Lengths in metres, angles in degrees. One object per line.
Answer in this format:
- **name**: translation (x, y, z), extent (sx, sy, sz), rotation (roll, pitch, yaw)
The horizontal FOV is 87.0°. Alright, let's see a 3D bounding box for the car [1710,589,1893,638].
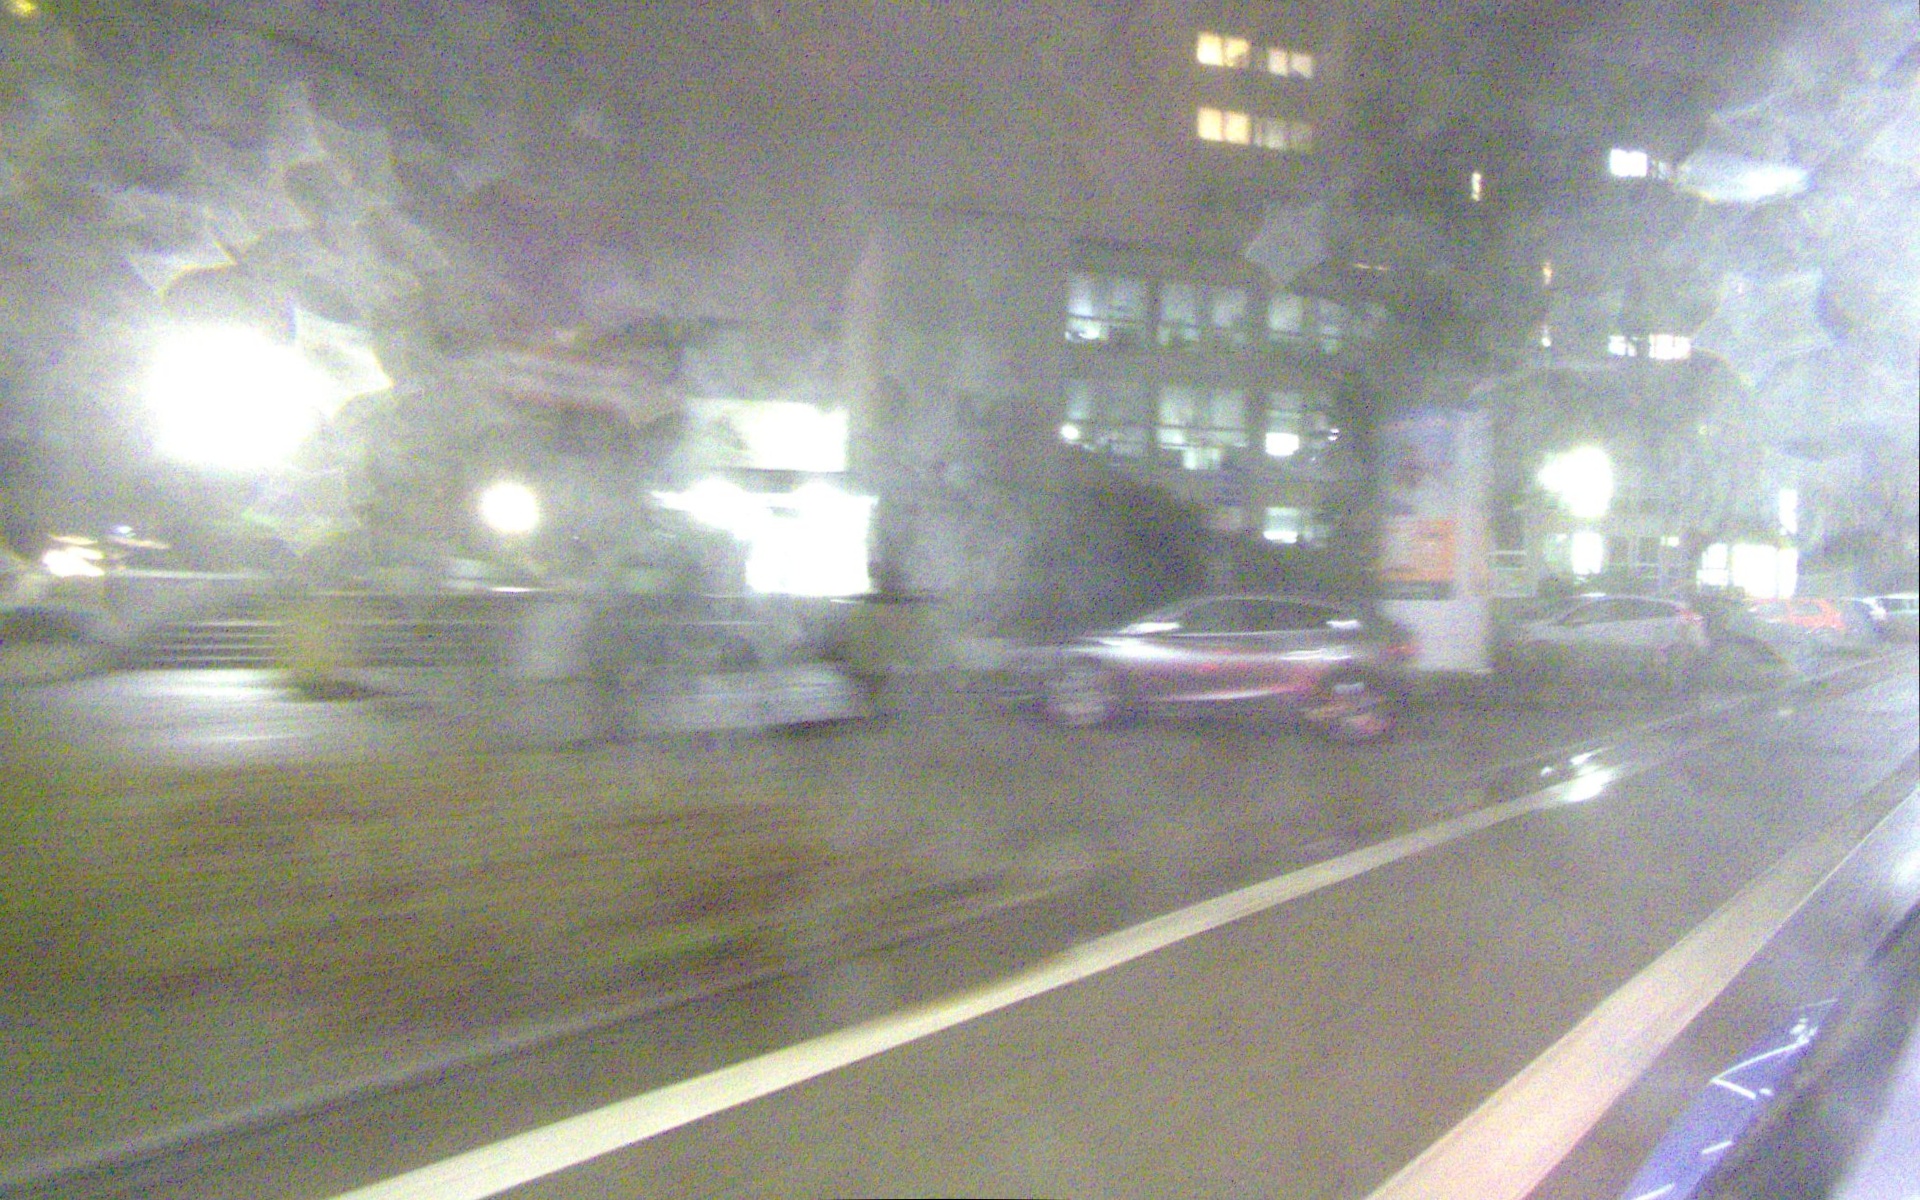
- **car**: translation (26.001, 0.397, 31.384), extent (4.091, 1.463, 1.652), rotation (0, 0, 7)

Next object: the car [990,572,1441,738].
- **car**: translation (2.565, 0.493, 10.763), extent (4.273, 1.486, 1.676), rotation (1, 1, 11)

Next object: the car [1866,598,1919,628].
- **car**: translation (41.659, 0.556, 44.107), extent (2.890, 1.238, 1.507), rotation (1, 1, 3)

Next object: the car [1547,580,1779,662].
- **car**: translation (14.443, 0.391, 20.986), extent (3.517, 1.490, 1.648), rotation (2, 1, 12)

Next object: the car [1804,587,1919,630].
- **car**: translation (34.508, 0.316, 37.976), extent (3.946, 1.547, 1.797), rotation (1, 1, 8)

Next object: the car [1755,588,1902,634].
- **car**: translation (30.794, 0.366, 35.953), extent (3.602, 1.547, 1.715), rotation (1, 1, 4)

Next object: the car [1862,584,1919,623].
- **car**: translation (45.924, 0.159, 48.324), extent (3.897, 1.793, 1.664), rotation (1, 1, 13)

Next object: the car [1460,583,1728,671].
- **car**: translation (11.694, 0.464, 18.866), extent (3.835, 1.531, 1.711), rotation (1, 1, 3)

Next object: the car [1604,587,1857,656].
- **car**: translation (17.325, 0.446, 22.960), extent (4.185, 1.435, 1.781), rotation (1, 1, 9)

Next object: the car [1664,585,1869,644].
- **car**: translation (21.639, 0.377, 27.262), extent (4.108, 1.501, 1.662), rotation (1, -1, 1)
